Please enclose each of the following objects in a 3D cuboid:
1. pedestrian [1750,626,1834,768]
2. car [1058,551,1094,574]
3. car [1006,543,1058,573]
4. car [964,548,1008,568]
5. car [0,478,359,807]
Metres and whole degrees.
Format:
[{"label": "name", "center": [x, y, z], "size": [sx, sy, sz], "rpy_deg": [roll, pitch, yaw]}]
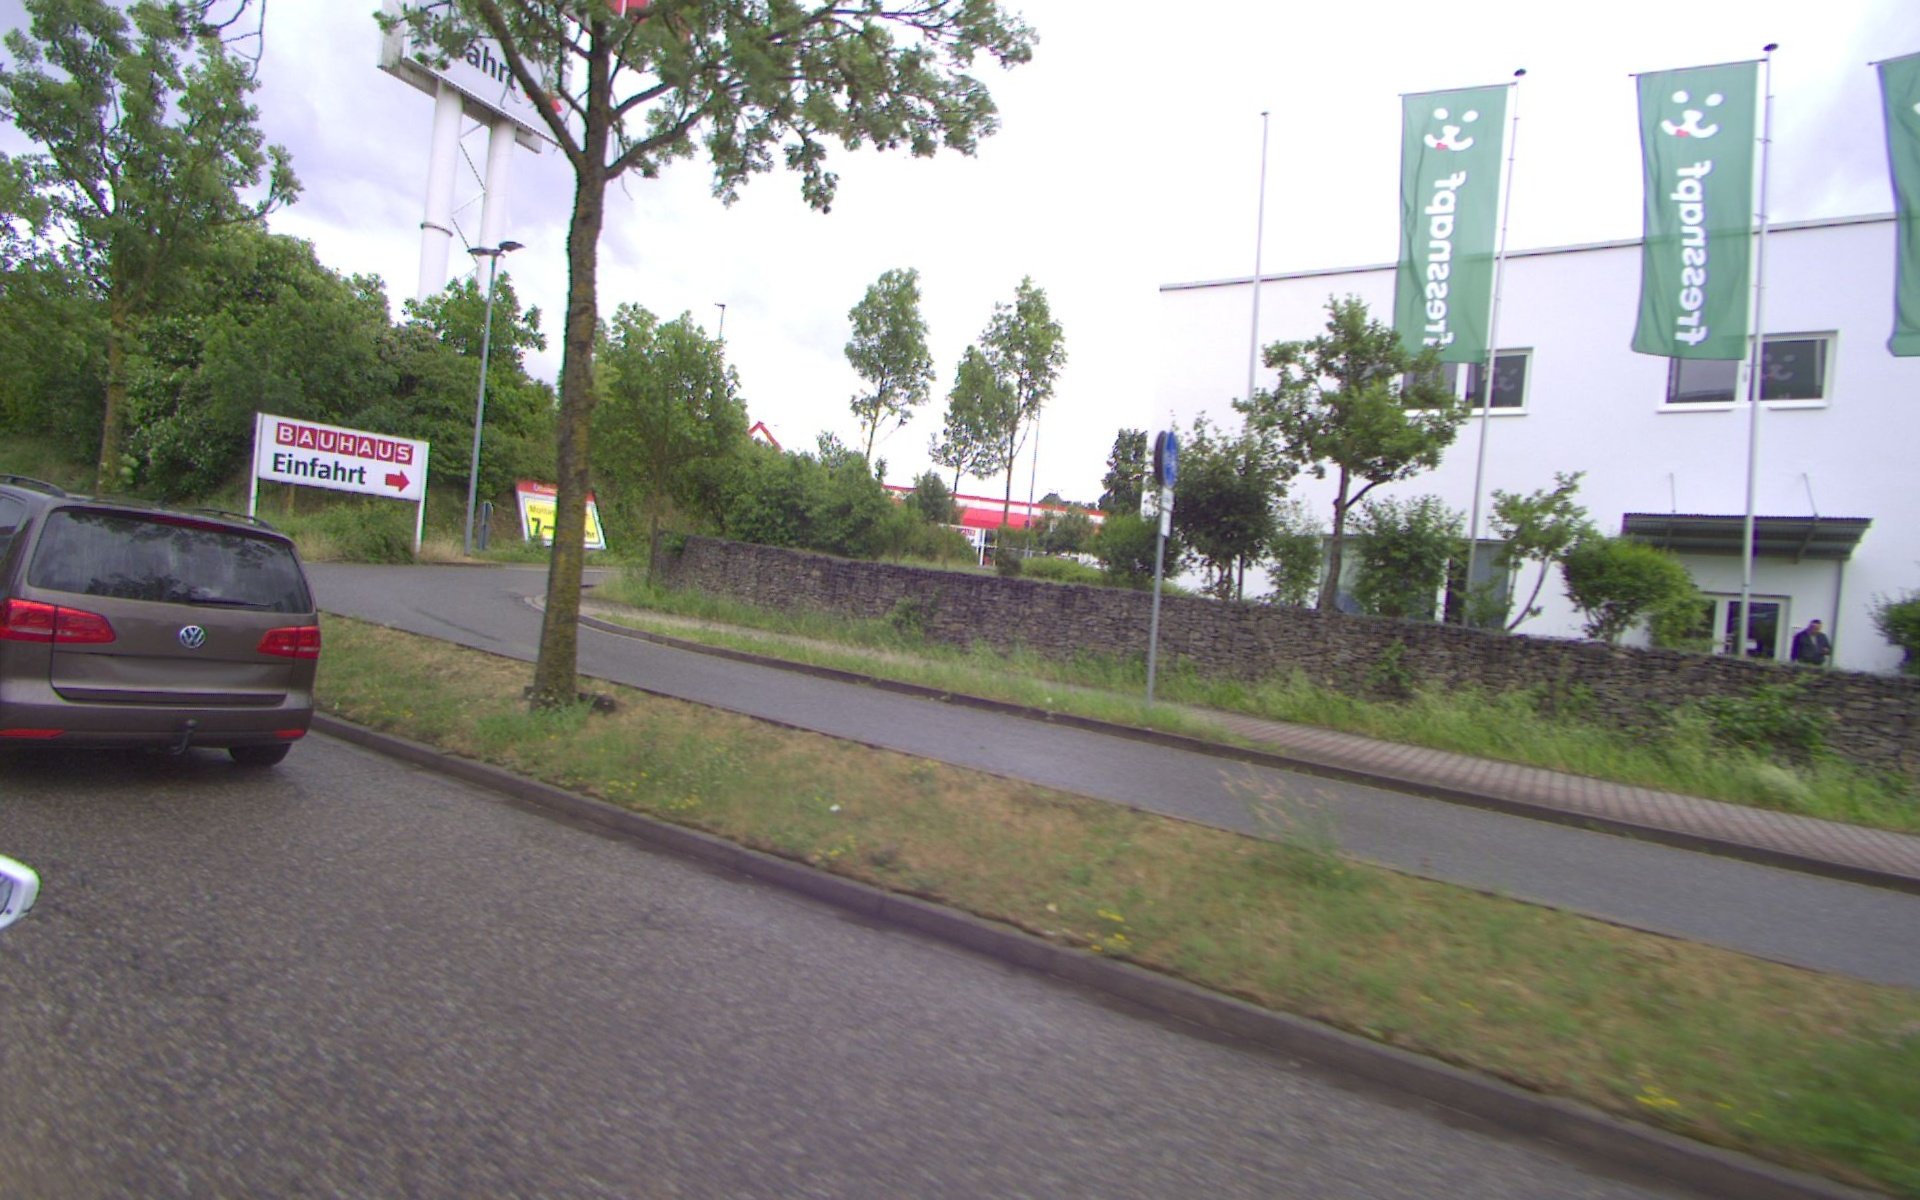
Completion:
[{"label": "pedestrian", "center": [13.436, 1.552, 16.271], "size": [0.743, 2.153, 0.693], "rpy_deg": [7, 2, 33]}, {"label": "car", "center": [9.174, -2.963, 79.201], "size": [1.962, 1.639, 3.993], "rpy_deg": [5, 3, 18]}, {"label": "car", "center": [7.243, -4.212, 101.532], "size": [4.698, 2.501, 1.847], "rpy_deg": [5, 4, -10]}, {"label": "car", "center": [2.599, -4.243, 100.773], "size": [3.933, 1.531, 1.794], "rpy_deg": [6, 3, -12]}, {"label": "car", "center": [-6.038, 0.079, 6.628], "size": [4.148, 1.599, 1.689], "rpy_deg": [7, -1, 31]}]
